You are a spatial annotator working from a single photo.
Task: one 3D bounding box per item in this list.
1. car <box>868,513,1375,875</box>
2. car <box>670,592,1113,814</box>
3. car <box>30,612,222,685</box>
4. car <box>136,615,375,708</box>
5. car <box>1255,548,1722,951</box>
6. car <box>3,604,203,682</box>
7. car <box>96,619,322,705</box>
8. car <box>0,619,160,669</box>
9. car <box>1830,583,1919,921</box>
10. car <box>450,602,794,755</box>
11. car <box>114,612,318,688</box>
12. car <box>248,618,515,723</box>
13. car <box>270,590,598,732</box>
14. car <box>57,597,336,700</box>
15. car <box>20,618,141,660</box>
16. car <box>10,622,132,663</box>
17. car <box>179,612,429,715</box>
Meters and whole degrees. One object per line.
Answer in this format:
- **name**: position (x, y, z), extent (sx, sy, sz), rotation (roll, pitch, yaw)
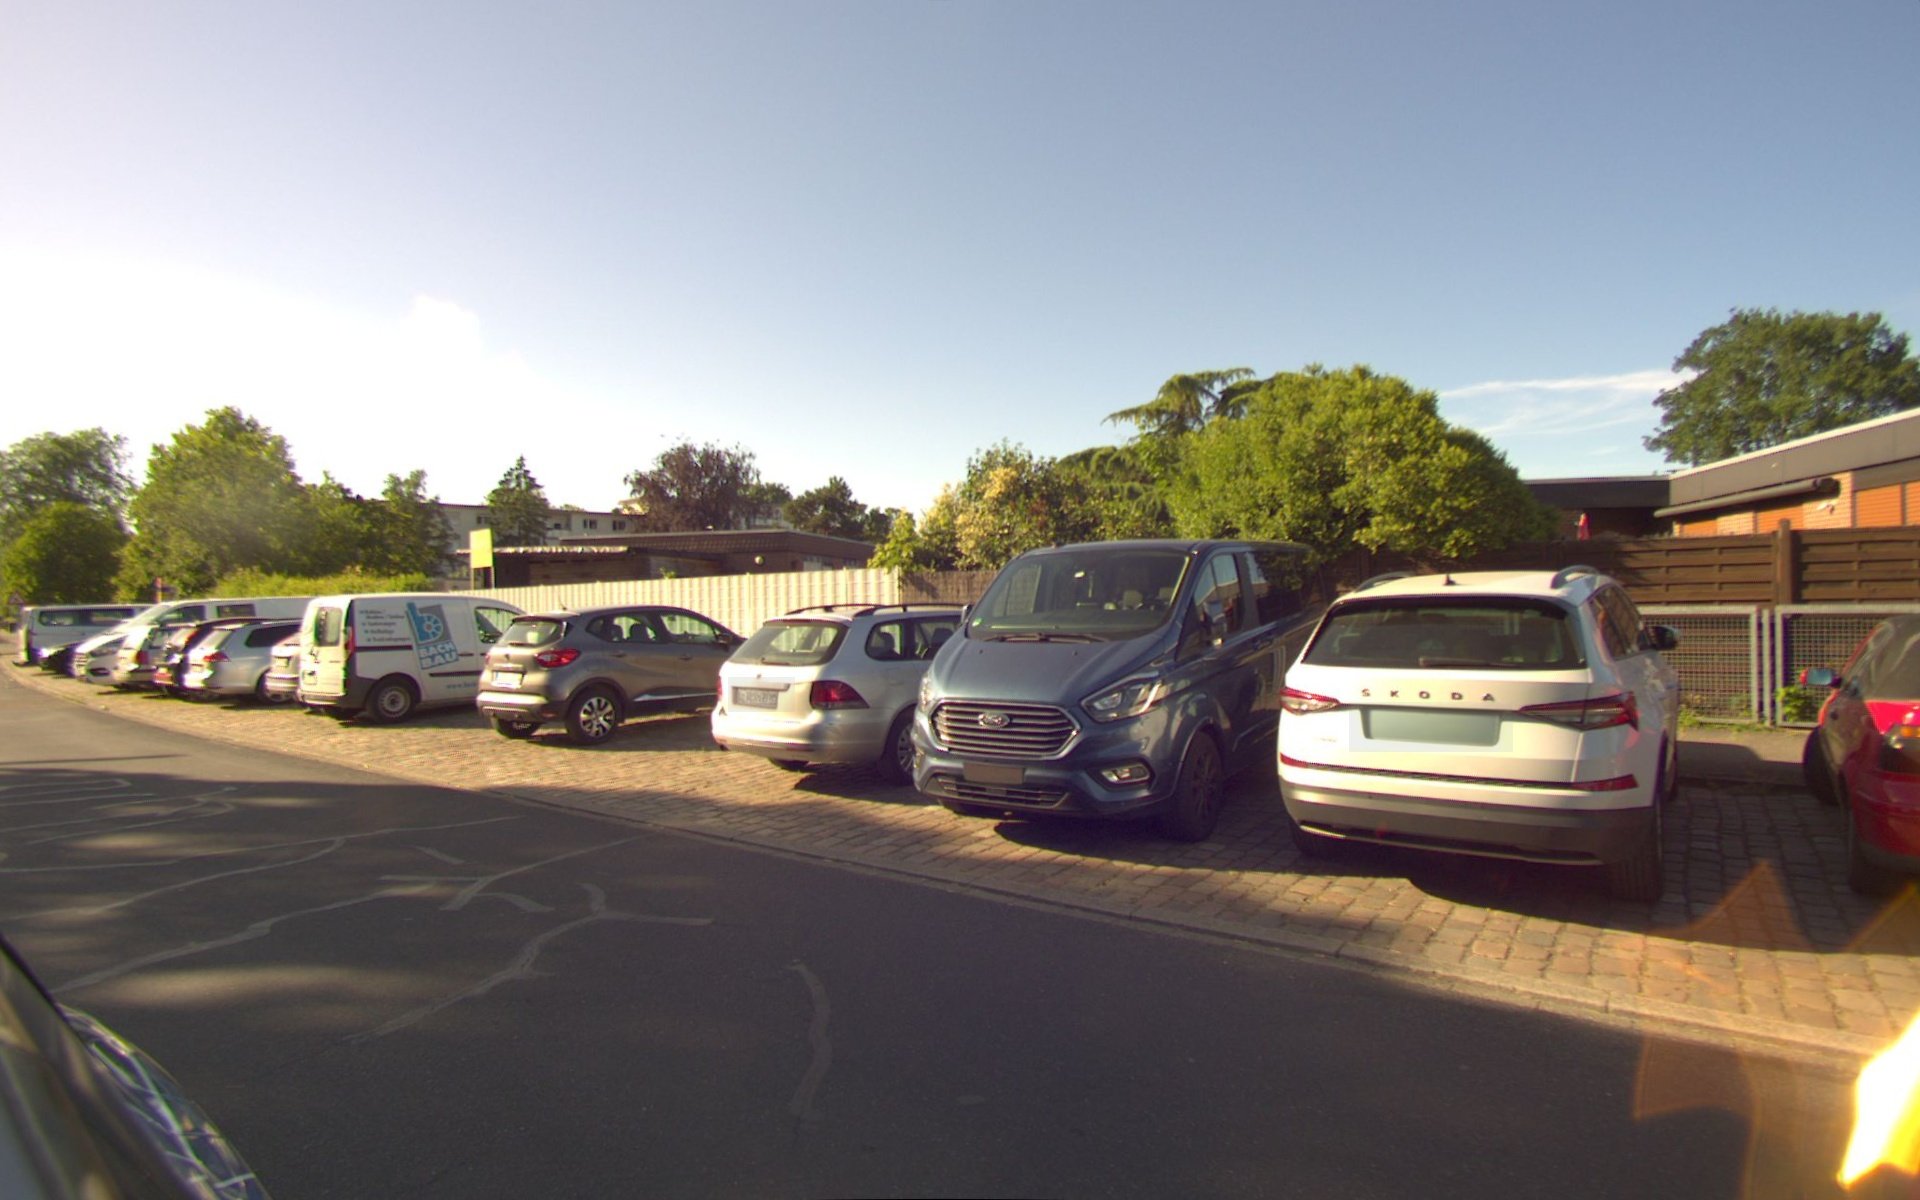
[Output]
- **car**: position (1.617, 0.479, 7.966), extent (1.996, 1.930, 4.829), rotation (-1, 0, 35)
- **car**: position (-0.433, 0.753, 9.623), extent (1.923, 1.503, 4.098), rotation (-1, 2, 39)
- **car**: position (-23.854, 1.316, 29.119), extent (4.099, 1.718, 1.887), rotation (-3, 2, -39)
- **car**: position (-13.679, 1.146, 19.805), extent (1.634, 1.500, 3.480), rotation (-3, 0, 38)
- **car**: position (3.339, 0.545, 6.025), extent (1.732, 1.619, 3.576), rotation (-1, 2, 40)
- **car**: position (-26.187, 1.241, 31.033), extent (2.000, 1.991, 4.430), rotation (-1, 2, 43)
- **car**: position (-15.800, 1.229, 21.433), extent (1.633, 1.457, 3.483), rotation (-1, 2, 36)
- **car**: position (-32.377, 1.585, 37.139), extent (1.748, 1.490, 4.493), rotation (-2, 1, 44)
- **car**: position (5.783, 0.632, 5.334), extent (1.732, 1.354, 3.576), rotation (-1, 2, 40)
- **car**: position (-4.062, 0.840, 12.706), extent (1.785, 1.544, 3.782), rotation (-1, 0, 35)
- **car**: position (-19.154, 1.213, 26.168), extent (1.884, 1.594, 3.943), rotation (-1, 2, 44)
- **car**: position (-9.523, 1.084, 16.869), extent (1.724, 1.500, 3.482), rotation (-1, -1, 36)
- **car**: position (-7.814, 0.808, 15.345), extent (1.922, 1.794, 3.941), rotation (-2, 0, 37)
- **car**: position (-17.518, 1.027, 23.440), extent (2.079, 1.935, 4.743), rotation (-2, 1, 38)
- **car**: position (-41.911, 1.810, 48.298), extent (1.846, 1.668, 4.142), rotation (-1, 2, 42)
- **car**: position (-40.203, 1.869, 45.831), extent (1.832, 1.544, 3.944), rotation (-1, 2, 43)
- **car**: position (-11.823, 1.081, 18.374), extent (1.636, 1.500, 3.476), rotation (-2, 1, 43)
